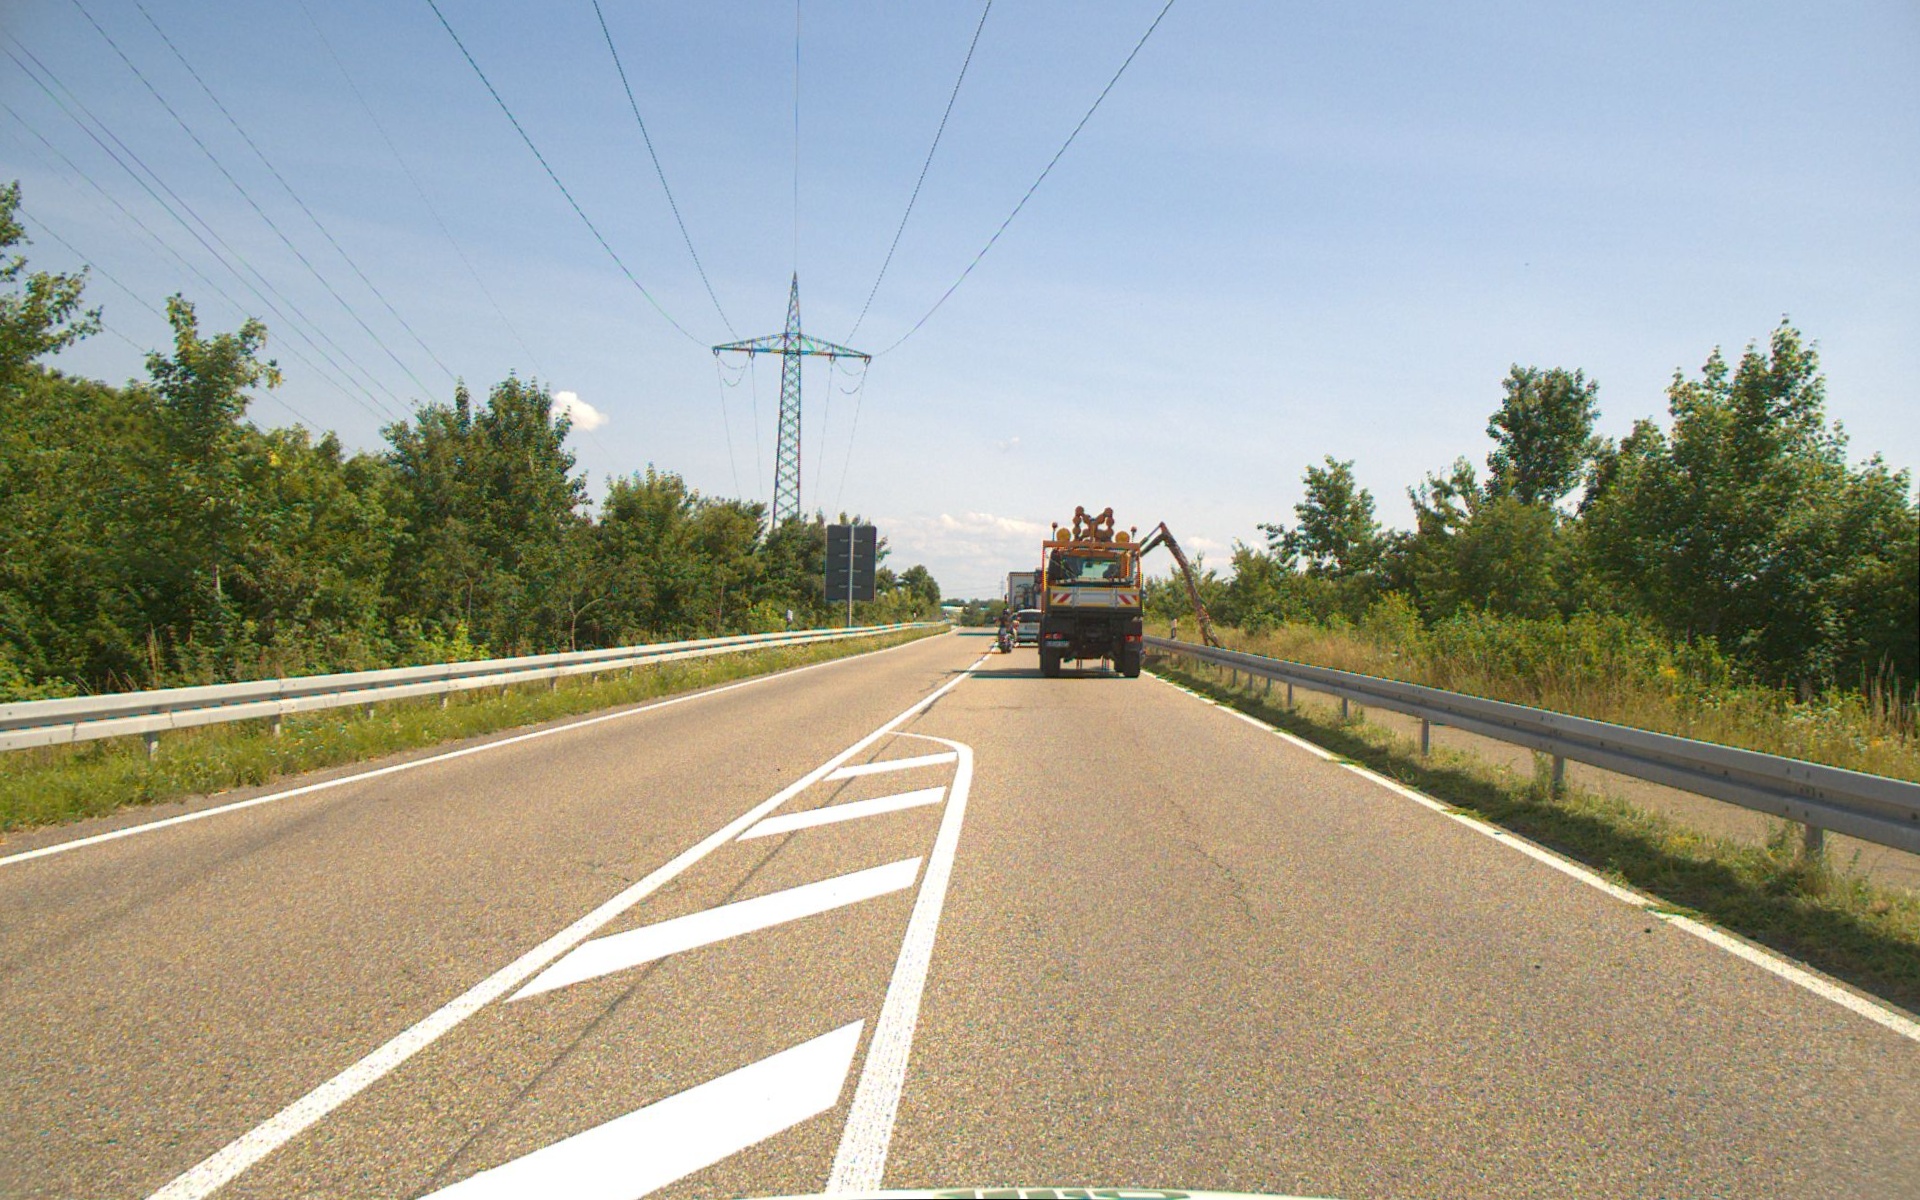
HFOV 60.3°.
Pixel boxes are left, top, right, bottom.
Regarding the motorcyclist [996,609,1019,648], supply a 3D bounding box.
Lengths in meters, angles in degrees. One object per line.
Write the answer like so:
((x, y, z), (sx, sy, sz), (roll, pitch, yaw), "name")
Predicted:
((1.669, 0.996, 57.755), (0.764, 1.349, 0.813), (1, 0, 2), "motorcyclist")

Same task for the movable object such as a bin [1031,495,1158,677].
((3.138, -0.304, 40.464), (2.696, 3.906, 9.448), (1, 0, 3), "movable object such as a bin")

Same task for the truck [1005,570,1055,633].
((4.755, 0.160, 111.952), (3.174, 4.048, 9.446), (1, -1, 2), "truck")

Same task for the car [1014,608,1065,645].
((3.357, 1.092, 69.376), (1.787, 1.477, 4.003), (1, 0, 7), "car")

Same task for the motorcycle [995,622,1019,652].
((1.654, 1.272, 57.734), (0.764, 0.993, 2.362), (1, 0, 2), "motorcycle")
